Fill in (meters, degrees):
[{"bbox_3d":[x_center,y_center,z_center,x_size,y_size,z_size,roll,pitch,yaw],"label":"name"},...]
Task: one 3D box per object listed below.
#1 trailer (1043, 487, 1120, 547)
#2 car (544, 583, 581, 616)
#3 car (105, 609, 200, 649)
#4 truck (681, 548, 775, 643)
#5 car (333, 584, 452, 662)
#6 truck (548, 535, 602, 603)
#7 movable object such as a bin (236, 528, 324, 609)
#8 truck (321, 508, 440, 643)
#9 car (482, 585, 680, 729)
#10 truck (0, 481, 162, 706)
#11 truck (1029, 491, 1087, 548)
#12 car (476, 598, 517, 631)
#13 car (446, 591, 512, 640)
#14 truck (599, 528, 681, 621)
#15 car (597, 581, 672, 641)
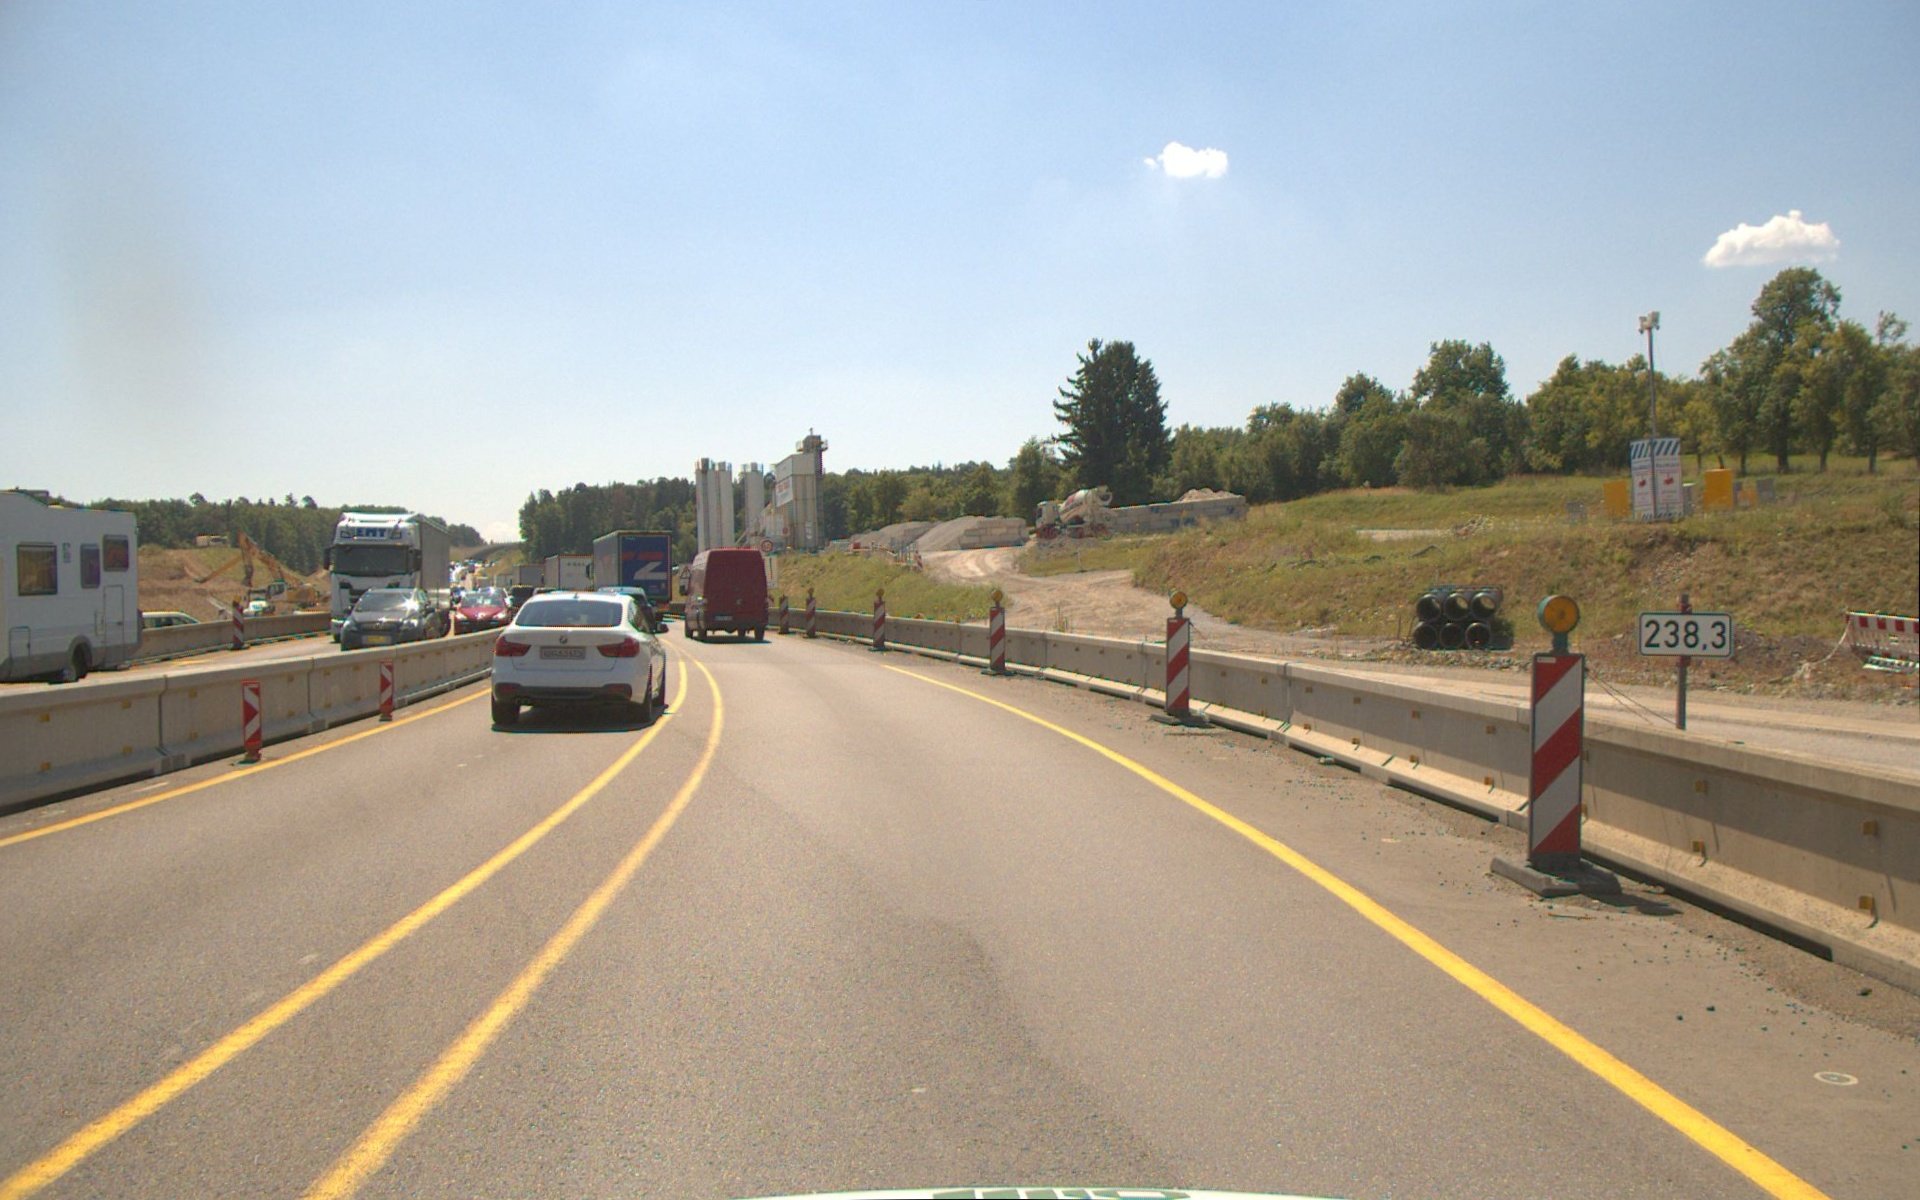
[{"bbox_3d":[9.050,-6.163,123.771,2.723,4.186,6.688,-2,1,-26],"label":"trailer"},{"bbox_3d":[-20.209,-0.049,83.975,1.772,1.607,3.985,-2,1,-14],"label":"car"},{"bbox_3d":[-32.841,1.162,67.296,3.176,1.480,1.523,-2,1,-43],"label":"car"},{"bbox_3d":[-7.199,-0.151,50.715,2.076,2.679,6.459,-2,1,-14],"label":"truck"},{"bbox_3d":[-12.983,0.483,38.108,1.628,1.633,4.390,-2,1,-6],"label":"car"},{"bbox_3d":[-28.499,-2.259,122.648,3.620,4.773,9.721,-2,1,-13],"label":"truck"},{"bbox_3d":[-67.570,-3.132,164.450,7.515,7.848,3.430,-2,1,-17],"label":"movable object such as a bin"},{"bbox_3d":[-18.850,-0.797,54.072,2.652,4.132,5.488,-2,1,-10],"label":"truck"},{"bbox_3d":[-4.595,0.606,20.729,1.760,1.561,5.067,0,1,-5],"label":"car"},{"bbox_3d":[-14.704,-0.080,24.828,2.394,3.125,7.241,-2,1,-5],"label":"truck"},{"bbox_3d":[7.524,-6.156,126.899,2.712,4.167,4.065,-2,1,-26],"label":"truck"},{"bbox_3d":[-22.882,0.713,81.514,1.768,1.501,4.754,-2,1,-17],"label":"car"},{"bbox_3d":[-15.725,0.479,54.214,1.638,1.501,3.961,-2,1,-10],"label":"car"},{"bbox_3d":[-15.703,-1.225,80.711,2.968,4.225,8.232,-2,1,-17],"label":"truck"},{"bbox_3d":[-9.058,0.273,46.284,1.761,1.561,3.924,-2,1,-8],"label":"car"}]
